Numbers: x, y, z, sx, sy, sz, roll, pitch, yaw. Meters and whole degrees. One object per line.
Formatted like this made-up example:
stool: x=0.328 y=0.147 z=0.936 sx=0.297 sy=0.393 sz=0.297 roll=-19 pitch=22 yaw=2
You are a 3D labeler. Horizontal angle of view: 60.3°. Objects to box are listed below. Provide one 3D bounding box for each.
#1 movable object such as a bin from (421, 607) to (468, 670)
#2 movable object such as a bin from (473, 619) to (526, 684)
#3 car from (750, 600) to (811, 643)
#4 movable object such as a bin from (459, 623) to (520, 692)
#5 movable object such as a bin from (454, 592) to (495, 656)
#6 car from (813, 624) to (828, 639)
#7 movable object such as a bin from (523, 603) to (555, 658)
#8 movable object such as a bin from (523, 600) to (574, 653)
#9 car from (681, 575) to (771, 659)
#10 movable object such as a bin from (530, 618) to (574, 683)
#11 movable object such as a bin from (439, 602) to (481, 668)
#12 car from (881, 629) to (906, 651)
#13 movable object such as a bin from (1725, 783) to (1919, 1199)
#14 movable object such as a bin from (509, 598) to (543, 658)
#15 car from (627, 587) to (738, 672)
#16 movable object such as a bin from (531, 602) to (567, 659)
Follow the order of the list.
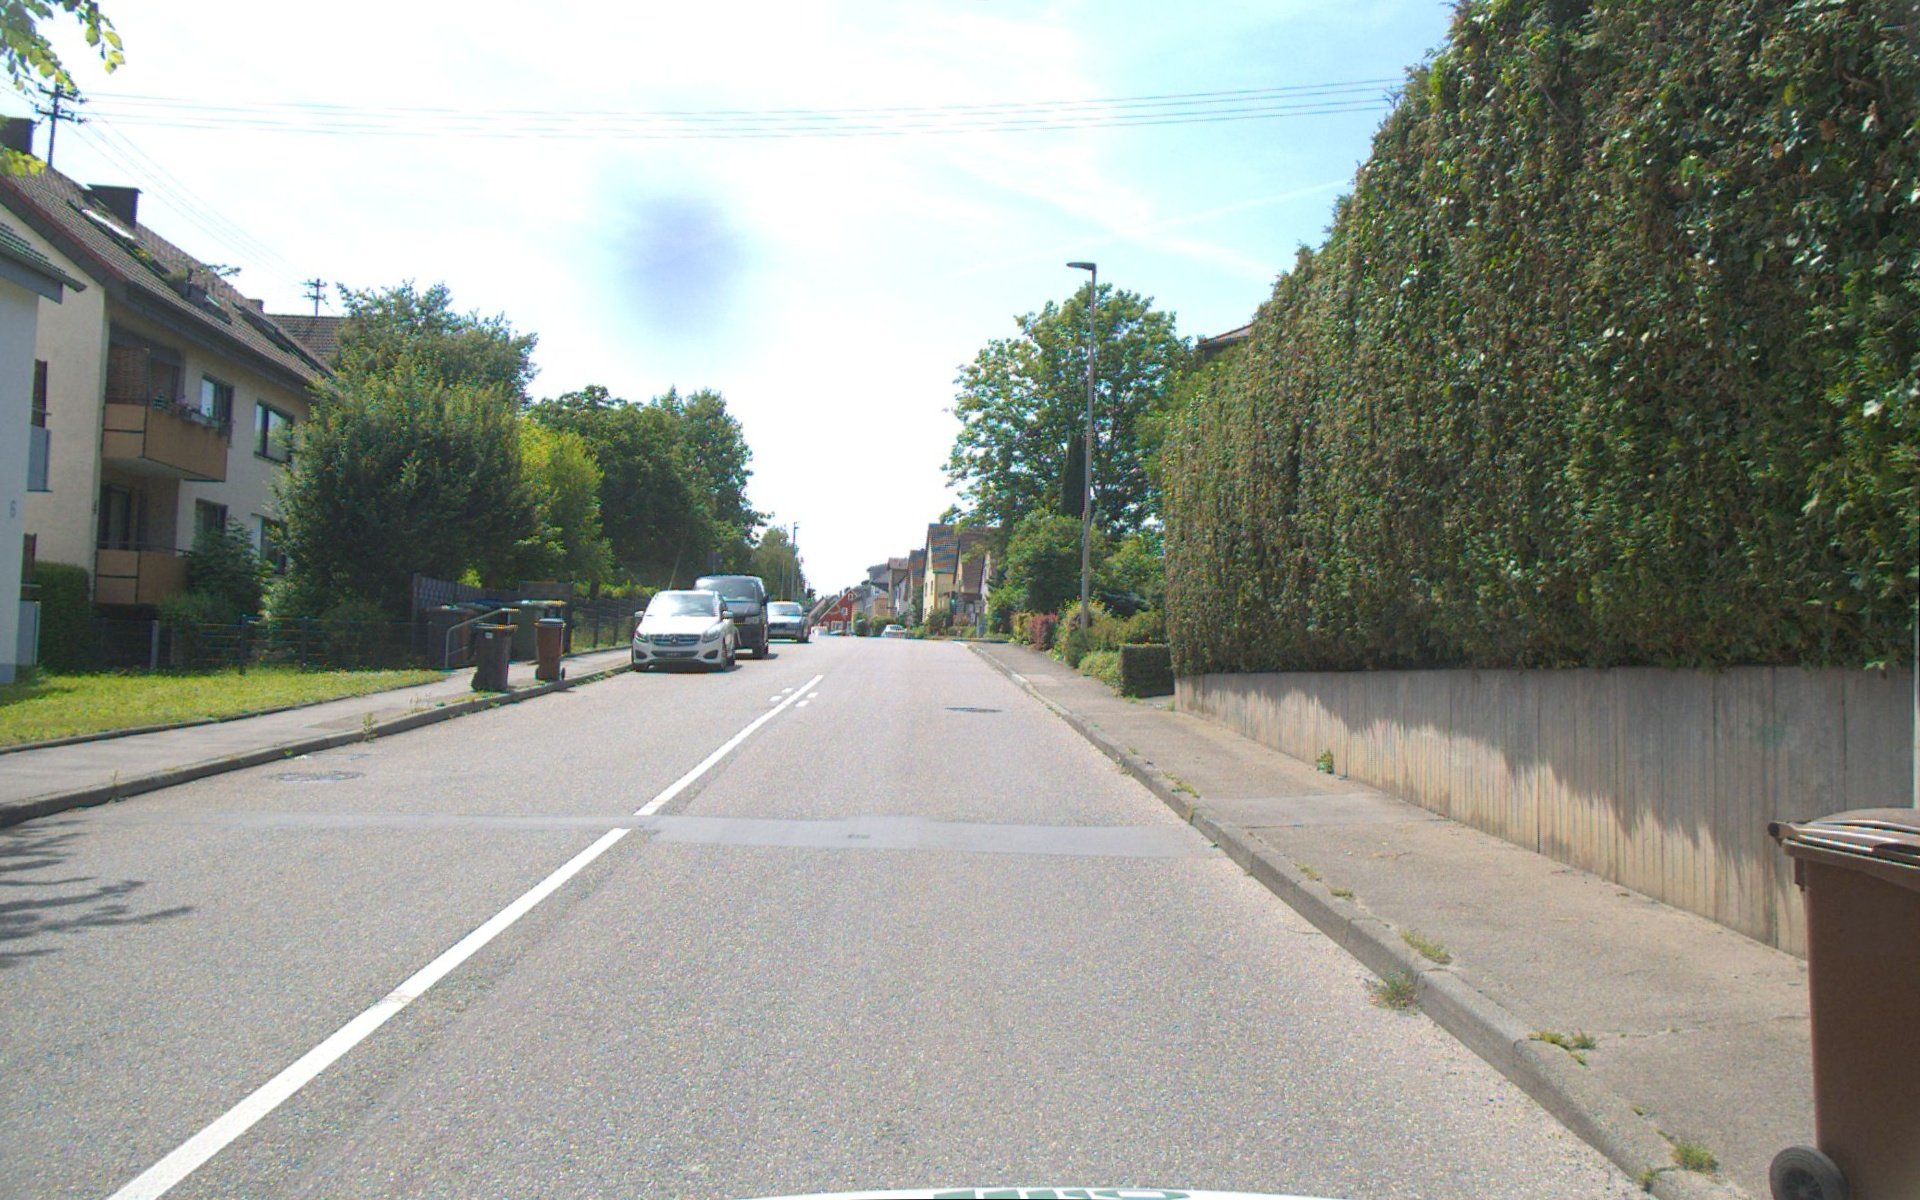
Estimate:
movable object such as a bin: x=-9.344 y=0.688 z=29.992 sx=0.590 sy=1.115 sz=0.650 roll=1 pitch=-1 yaw=5
movable object such as a bin: x=-6.791 y=0.760 z=24.419 sx=0.551 sy=0.934 sz=0.643 roll=1 pitch=0 yaw=5
car: x=-6.221 y=0.765 z=57.732 sx=1.744 sy=1.419 sz=4.407 roll=1 pitch=-1 yaw=-2
movable object such as a bin: x=-6.610 y=0.799 z=23.251 sx=0.606 sy=0.934 sz=0.686 roll=1 pitch=0 yaw=5
movable object such as a bin: x=-9.270 y=0.460 z=31.586 sx=0.466 sy=1.198 sz=0.840 roll=1 pitch=0 yaw=3
car: x=-15.230 y=3.413 z=181.018 sx=1.505 sy=1.568 sz=4.298 roll=2 pitch=-1 yaw=-6
movable object such as a bin: x=-8.152 y=0.595 z=32.017 sx=0.446 sy=1.062 sz=0.560 roll=-1 pitch=-1 yaw=5
movable object such as a bin: x=-8.502 y=0.543 z=34.177 sx=0.881 sy=1.088 sz=0.695 roll=0 pitch=0 yaw=-2
car: x=-5.745 y=0.391 z=41.057 sx=1.859 sy=1.954 sz=4.866 roll=0 pitch=0 yaw=-4
movable object such as a bin: x=-6.395 y=0.787 z=25.936 sx=0.495 sy=1.005 sz=0.563 roll=1 pitch=0 yaw=5
movable object such as a bin: x=-9.302 y=0.641 z=30.796 sx=0.535 sy=1.198 sz=0.674 roll=1 pitch=0 yaw=3
car: x=-5.403 y=3.198 z=133.277 sx=1.954 sy=1.632 sz=3.997 roll=1 pitch=0 yaw=-3
movable object such as a bin: x=2.283 y=0.974 z=3.888 sx=0.576 sy=0.995 sz=0.786 roll=-1 pitch=0 yaw=-2
movable object such as a bin: x=-8.232 y=0.522 z=31.382 sx=0.506 sy=1.124 sz=0.529 roll=0 pitch=0 yaw=-3
car: x=-5.600 y=0.566 z=33.770 sx=1.775 sy=1.576 sz=4.240 roll=2 pitch=0 yaw=-4
movable object such as a bin: x=-8.144 y=0.606 z=32.791 sx=0.486 sy=1.124 sz=0.710 roll=-1 pitch=-1 yaw=5
